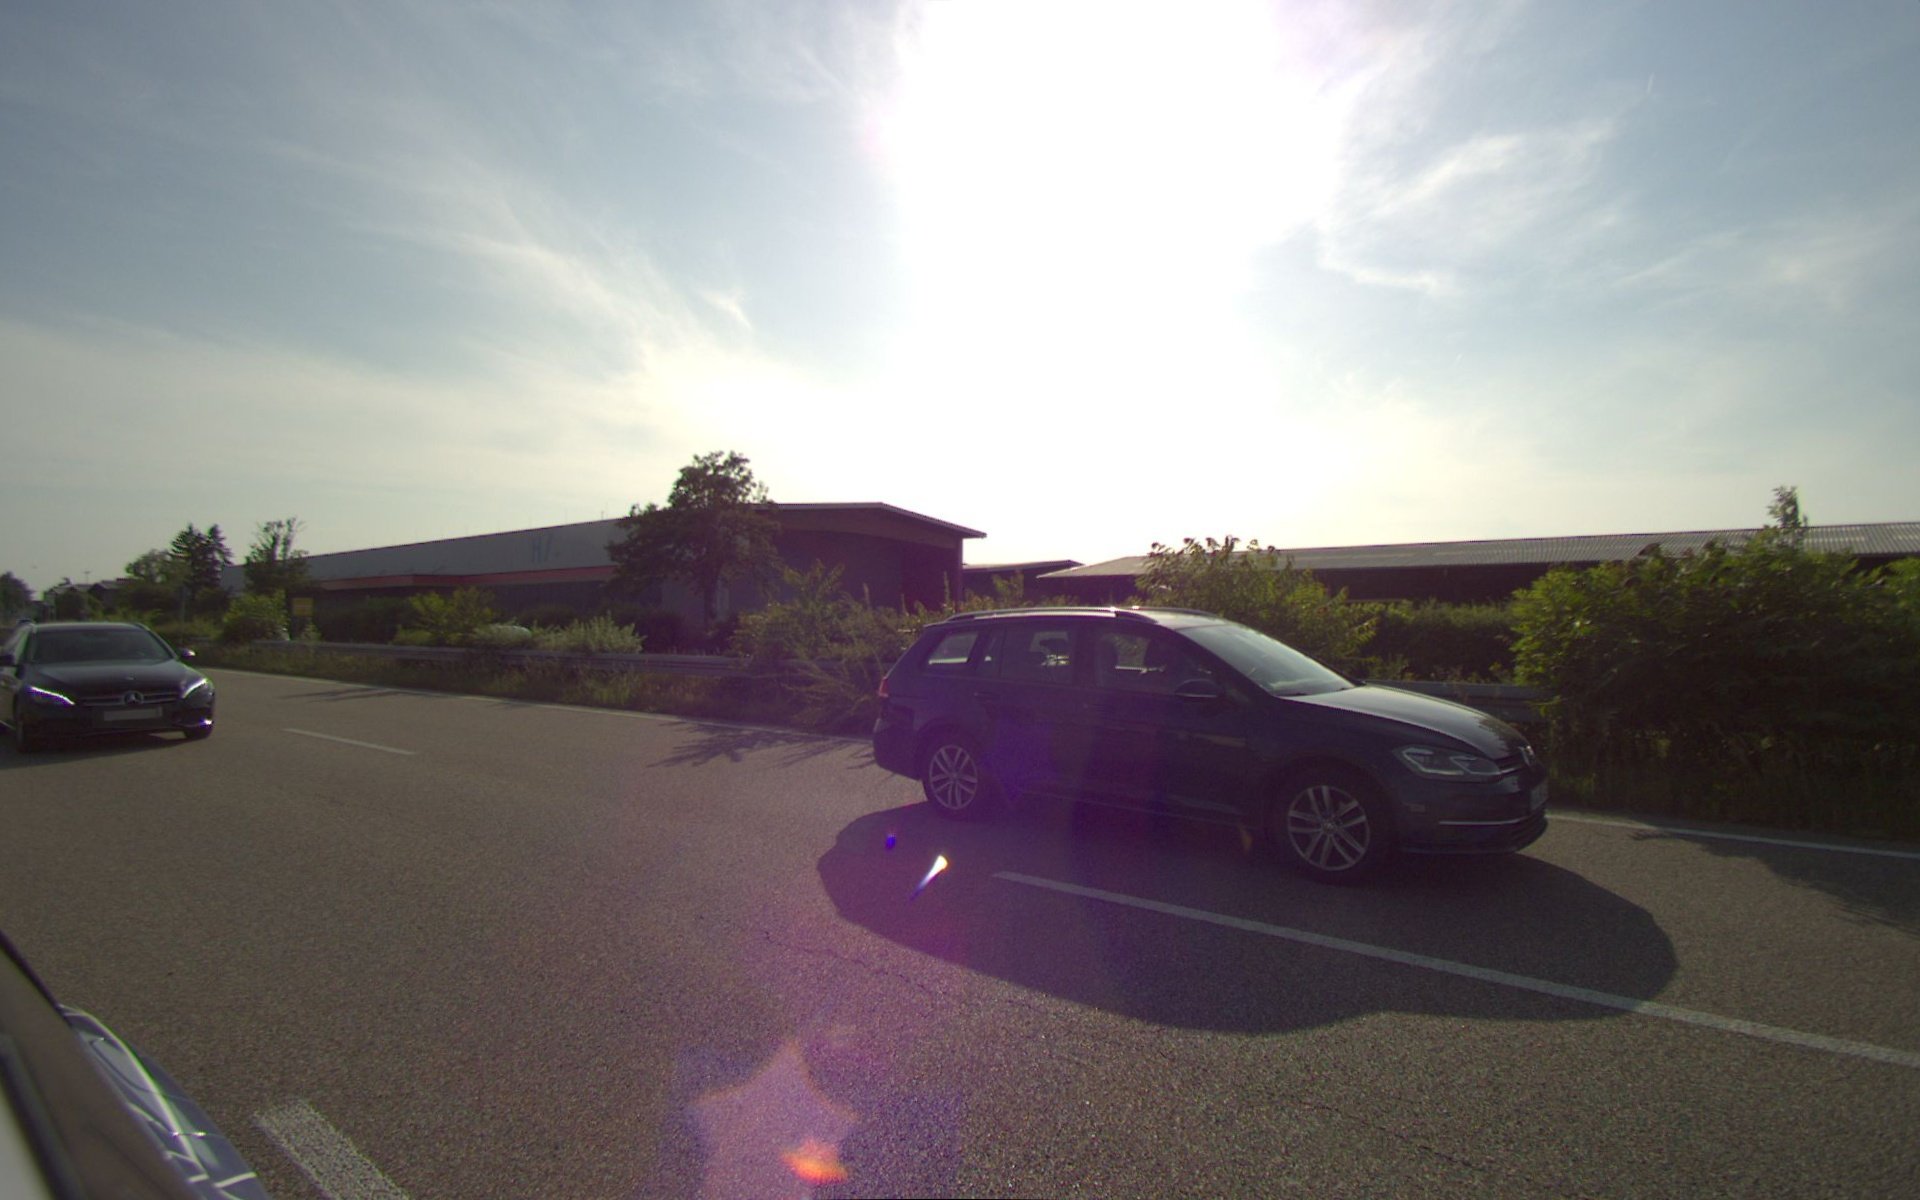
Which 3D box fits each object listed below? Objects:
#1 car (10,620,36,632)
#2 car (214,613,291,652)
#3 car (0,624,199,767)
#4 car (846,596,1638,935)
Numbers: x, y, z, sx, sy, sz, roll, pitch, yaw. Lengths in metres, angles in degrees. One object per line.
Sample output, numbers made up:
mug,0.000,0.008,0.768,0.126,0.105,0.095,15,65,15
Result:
car,-107.886,2.983,116.461,3.998,1.435,1.761,-1,-2,41
car,-31.874,1.444,45.551,3.997,1.625,1.909,0,0,40
car,-11.204,1.042,12.766,5.019,1.482,1.556,-1,-2,41
car,1.472,0.786,6.634,4.773,1.482,1.629,-1,-2,41
